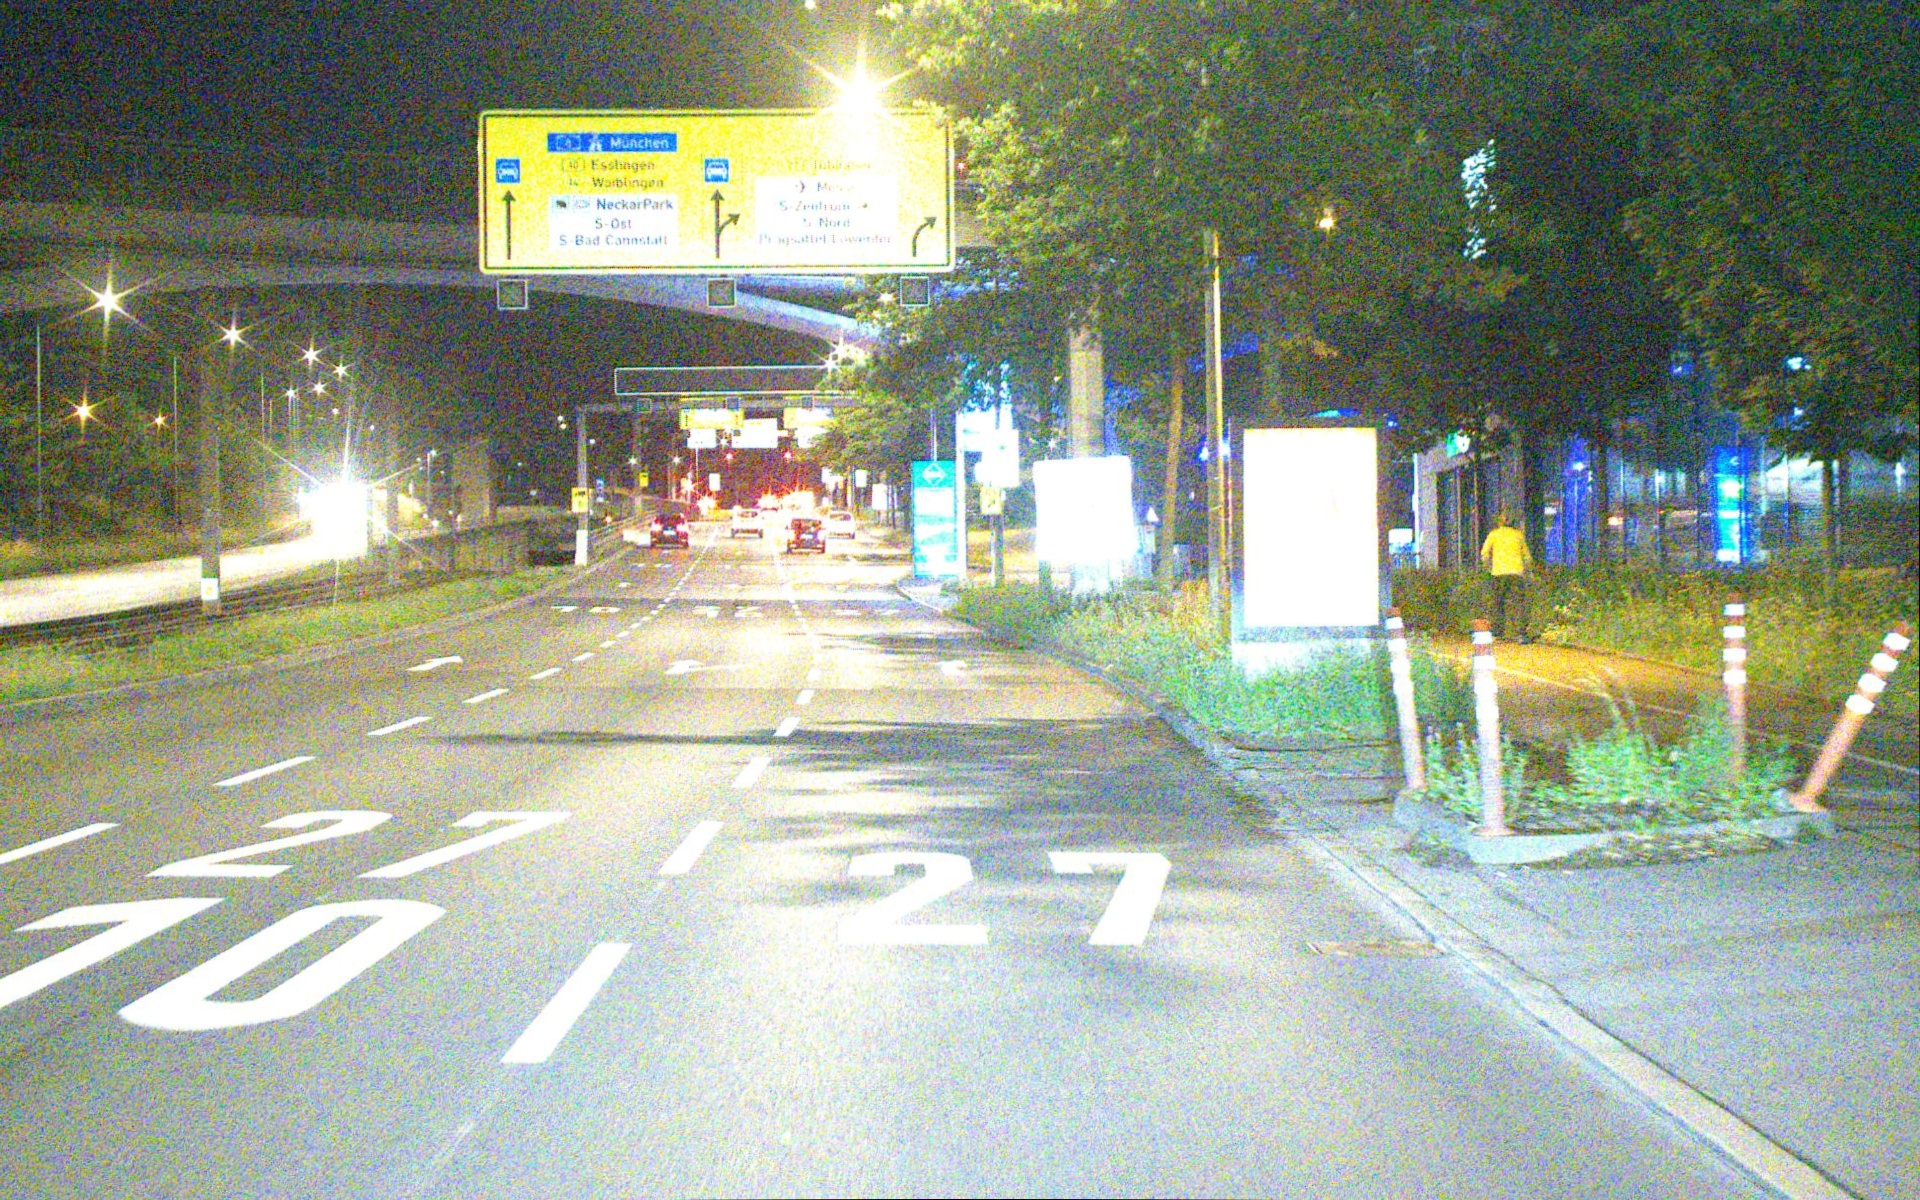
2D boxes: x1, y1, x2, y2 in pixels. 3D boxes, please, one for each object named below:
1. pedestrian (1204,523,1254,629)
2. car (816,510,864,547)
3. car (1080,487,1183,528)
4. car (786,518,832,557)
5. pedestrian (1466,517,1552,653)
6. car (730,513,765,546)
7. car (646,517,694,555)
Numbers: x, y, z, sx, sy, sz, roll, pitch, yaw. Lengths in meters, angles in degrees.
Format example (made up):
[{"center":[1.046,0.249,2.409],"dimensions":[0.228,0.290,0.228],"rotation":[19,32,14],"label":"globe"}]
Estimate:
[{"center":[4.937,-0.447,63.105],"dimensions":[0.805,1.907,0.793],"rotation":[-3,1,6],"label":"pedestrian"},{"center":[-6.882,-4.111,197.939],"dimensions":[2.651,2.007,5.299],"rotation":[1,0,-1],"label":"car"},{"center":[7.127,-3.856,143.362],"dimensions":[4.119,1.517,1.822],"rotation":[-2,0,-2],"label":"car"},{"center":[-6.898,-2.850,157.050],"dimensions":[1.968,1.705,4.000],"rotation":[1,0,-1],"label":"car"},{"center":[7.095,-0.192,44.496],"dimensions":[0.852,1.701,0.957],"rotation":[2,0,-3],"label":"pedestrian"},{"center":[-11.920,-3.944,192.771],"dimensions":[1.782,1.705,4.000],"rotation":[1,0,-1],"label":"car"},{"center":[-13.710,-3.038,162.719],"dimensions":[1.968,1.705,4.000],"rotation":[1,0,-1],"label":"car"}]
